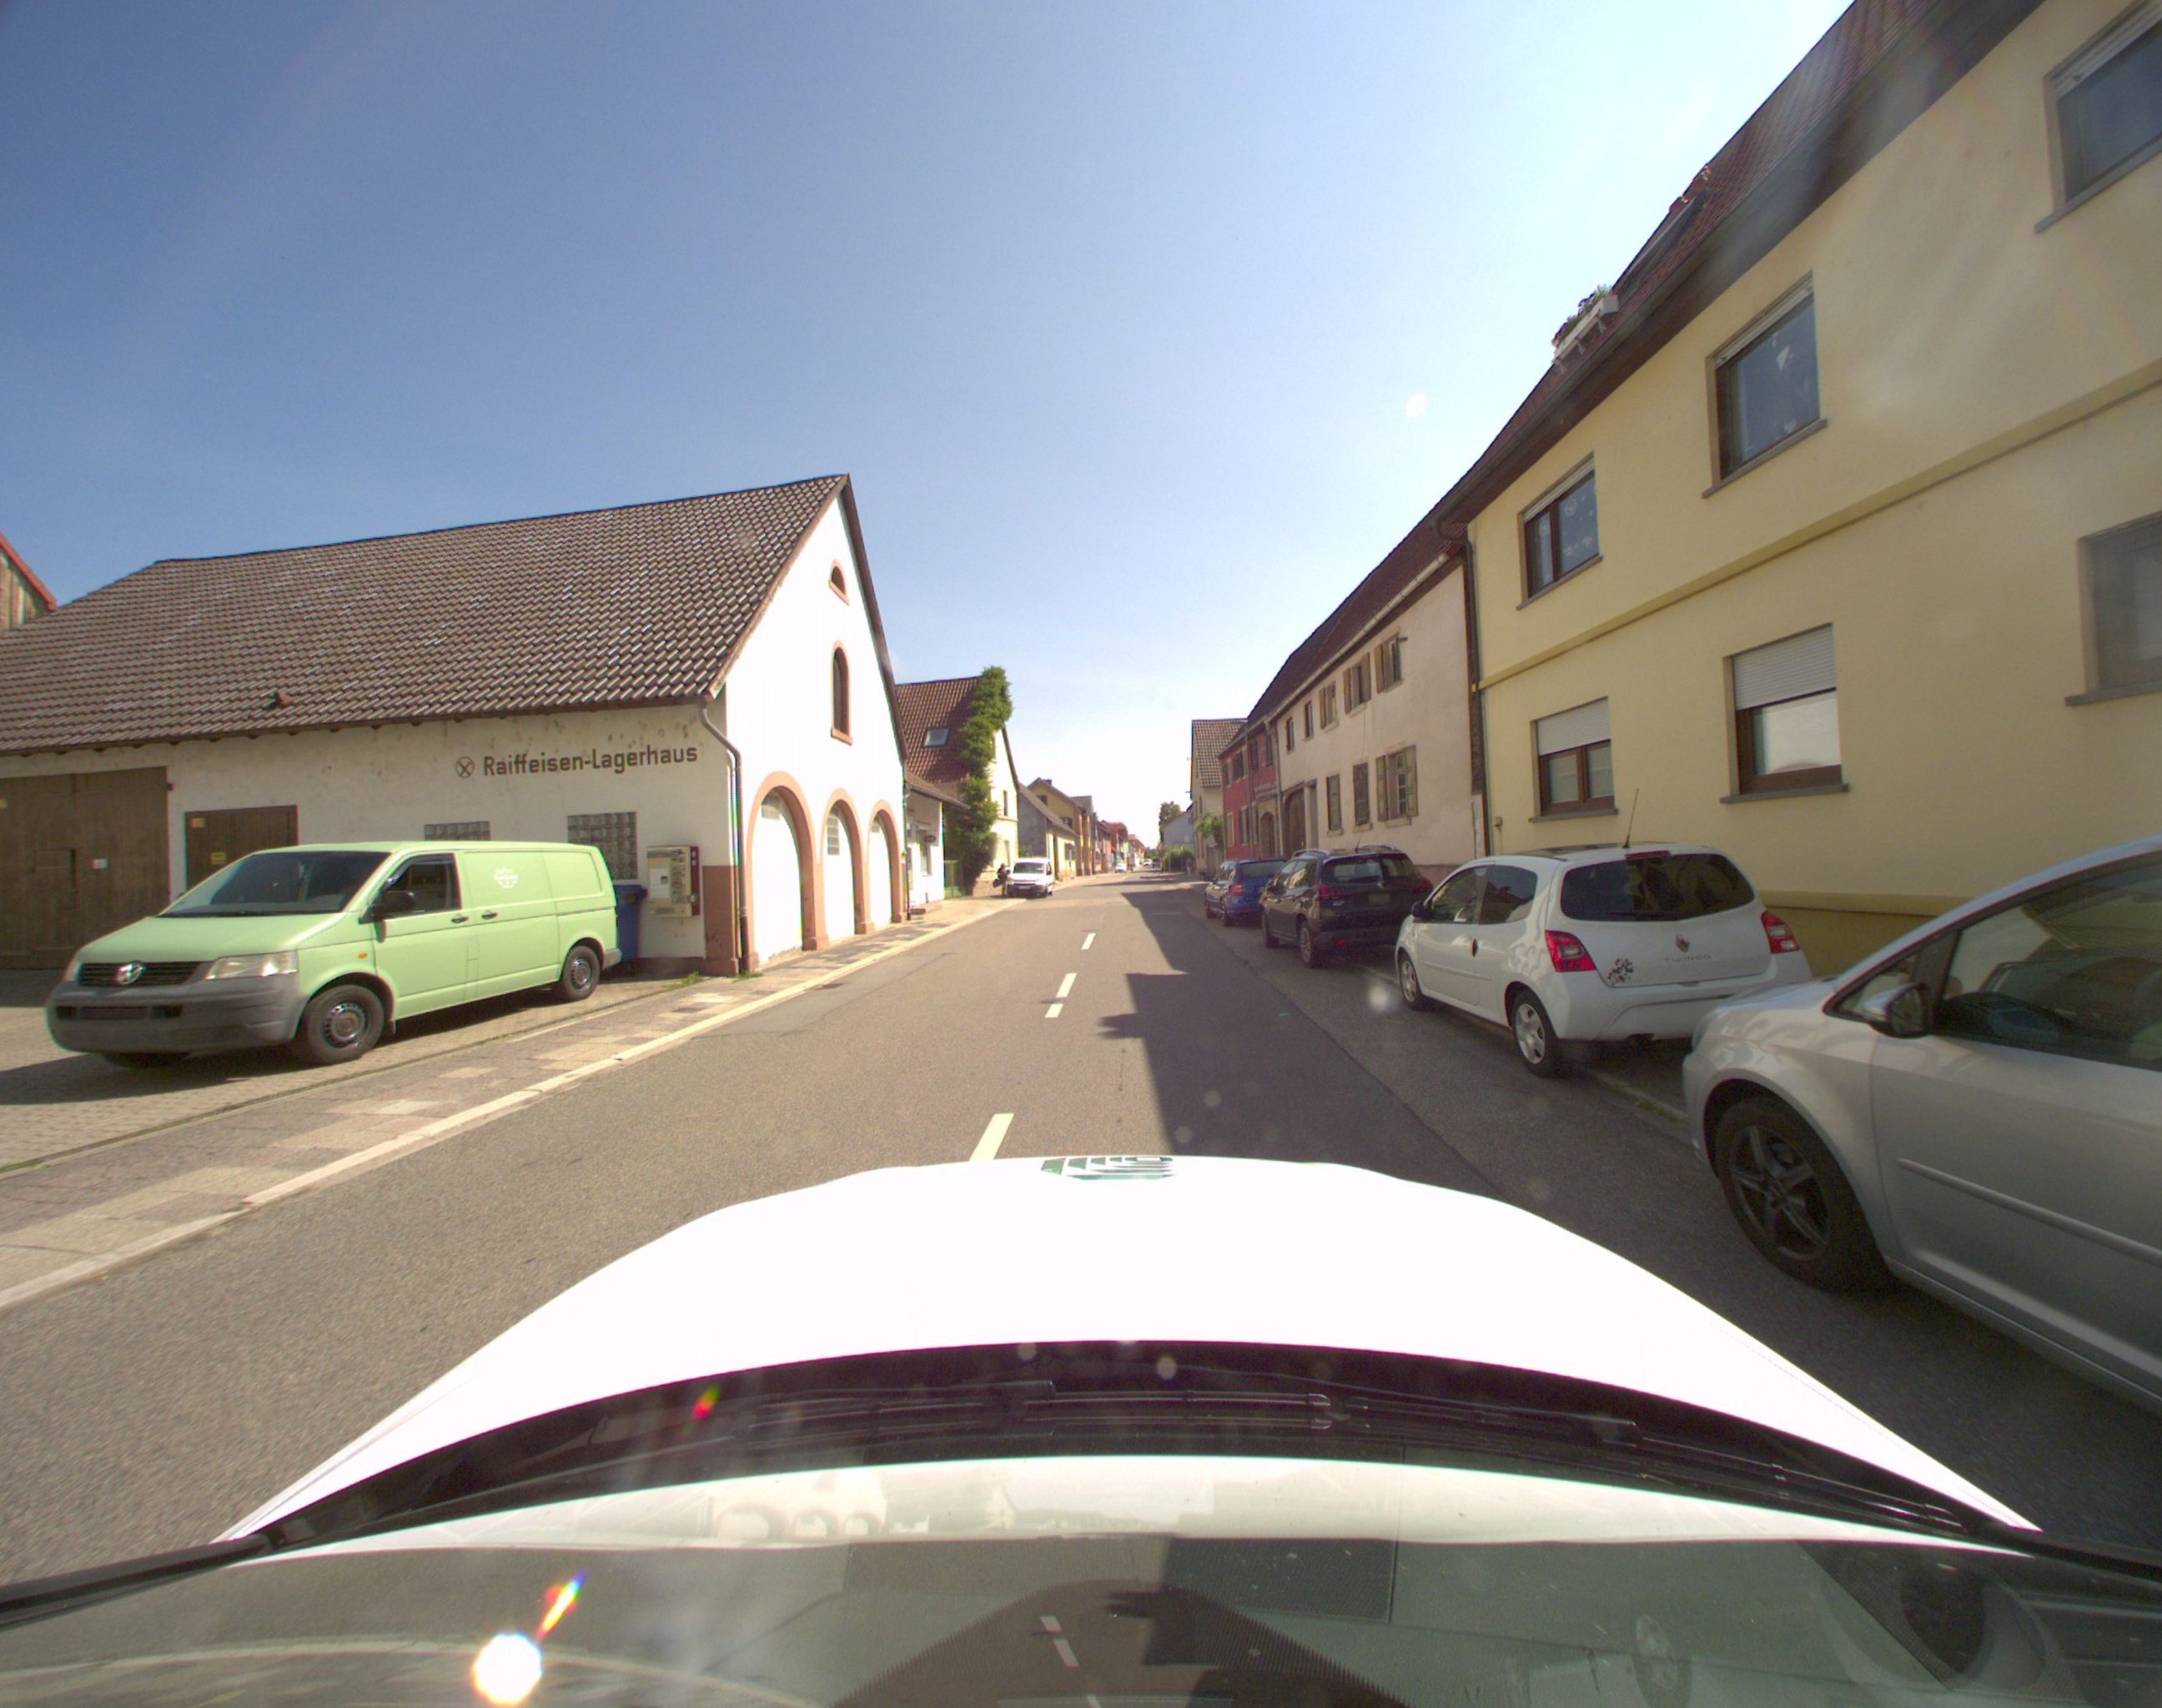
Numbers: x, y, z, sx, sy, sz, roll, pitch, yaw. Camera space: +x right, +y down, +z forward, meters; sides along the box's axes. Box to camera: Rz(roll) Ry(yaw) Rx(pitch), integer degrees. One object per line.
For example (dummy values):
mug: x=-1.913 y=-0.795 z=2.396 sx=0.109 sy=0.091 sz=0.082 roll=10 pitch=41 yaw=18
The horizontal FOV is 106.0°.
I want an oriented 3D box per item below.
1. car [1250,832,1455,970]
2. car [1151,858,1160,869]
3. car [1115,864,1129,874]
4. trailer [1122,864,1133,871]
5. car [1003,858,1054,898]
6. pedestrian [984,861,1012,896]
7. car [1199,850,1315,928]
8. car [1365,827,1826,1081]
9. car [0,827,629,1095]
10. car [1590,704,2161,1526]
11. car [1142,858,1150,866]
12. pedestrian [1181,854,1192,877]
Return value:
car: x=3.747 y=0.590 z=12.002 sx=1.693 sy=1.584 sz=4.028 roll=-4 pitch=-1 yaw=1
car: x=18.627 y=2.266 z=203.061 sx=2.008 sy=2.568 sz=4.004 roll=-3 pitch=-1 yaw=4
car: x=6.656 y=2.360 z=131.767 sx=1.984 sy=1.442 sz=4.005 roll=-3 pitch=-1 yaw=4
trailer: x=8.548 y=2.451 z=148.587 sx=1.985 sy=1.090 sz=4.003 roll=-2 pitch=-1 yaw=3
car: x=-2.327 y=1.046 z=37.413 sx=1.848 sy=1.647 sz=4.431 roll=-2 pitch=-1 yaw=2
pedestrian: x=-3.830 y=1.139 z=37.761 sx=1.132 sy=1.552 sz=1.017 roll=-2 pitch=-1 yaw=1
car: x=3.868 y=0.733 z=18.671 sx=1.693 sy=1.469 sz=4.410 roll=-4 pitch=-1 yaw=1
car: x=3.732 y=0.617 z=6.757 sx=1.544 sy=1.438 sz=3.723 roll=-4 pitch=-1 yaw=3
car: x=-7.147 y=0.830 z=8.483 sx=1.985 sy=1.964 sz=4.674 roll=-2 pitch=-1 yaw=4
car: x=3.192 y=0.523 z=1.570 sx=1.890 sy=1.728 sz=4.252 roll=-2 pitch=-1 yaw=3
car: x=18.007 y=2.187 z=224.968 sx=2.149 sy=2.080 sz=4.003 roll=-3 pitch=-2 yaw=3
pedestrian: x=7.878 y=0.823 z=60.704 sx=0.715 sy=1.664 sz=0.894 roll=-2 pitch=-1 yaw=7
